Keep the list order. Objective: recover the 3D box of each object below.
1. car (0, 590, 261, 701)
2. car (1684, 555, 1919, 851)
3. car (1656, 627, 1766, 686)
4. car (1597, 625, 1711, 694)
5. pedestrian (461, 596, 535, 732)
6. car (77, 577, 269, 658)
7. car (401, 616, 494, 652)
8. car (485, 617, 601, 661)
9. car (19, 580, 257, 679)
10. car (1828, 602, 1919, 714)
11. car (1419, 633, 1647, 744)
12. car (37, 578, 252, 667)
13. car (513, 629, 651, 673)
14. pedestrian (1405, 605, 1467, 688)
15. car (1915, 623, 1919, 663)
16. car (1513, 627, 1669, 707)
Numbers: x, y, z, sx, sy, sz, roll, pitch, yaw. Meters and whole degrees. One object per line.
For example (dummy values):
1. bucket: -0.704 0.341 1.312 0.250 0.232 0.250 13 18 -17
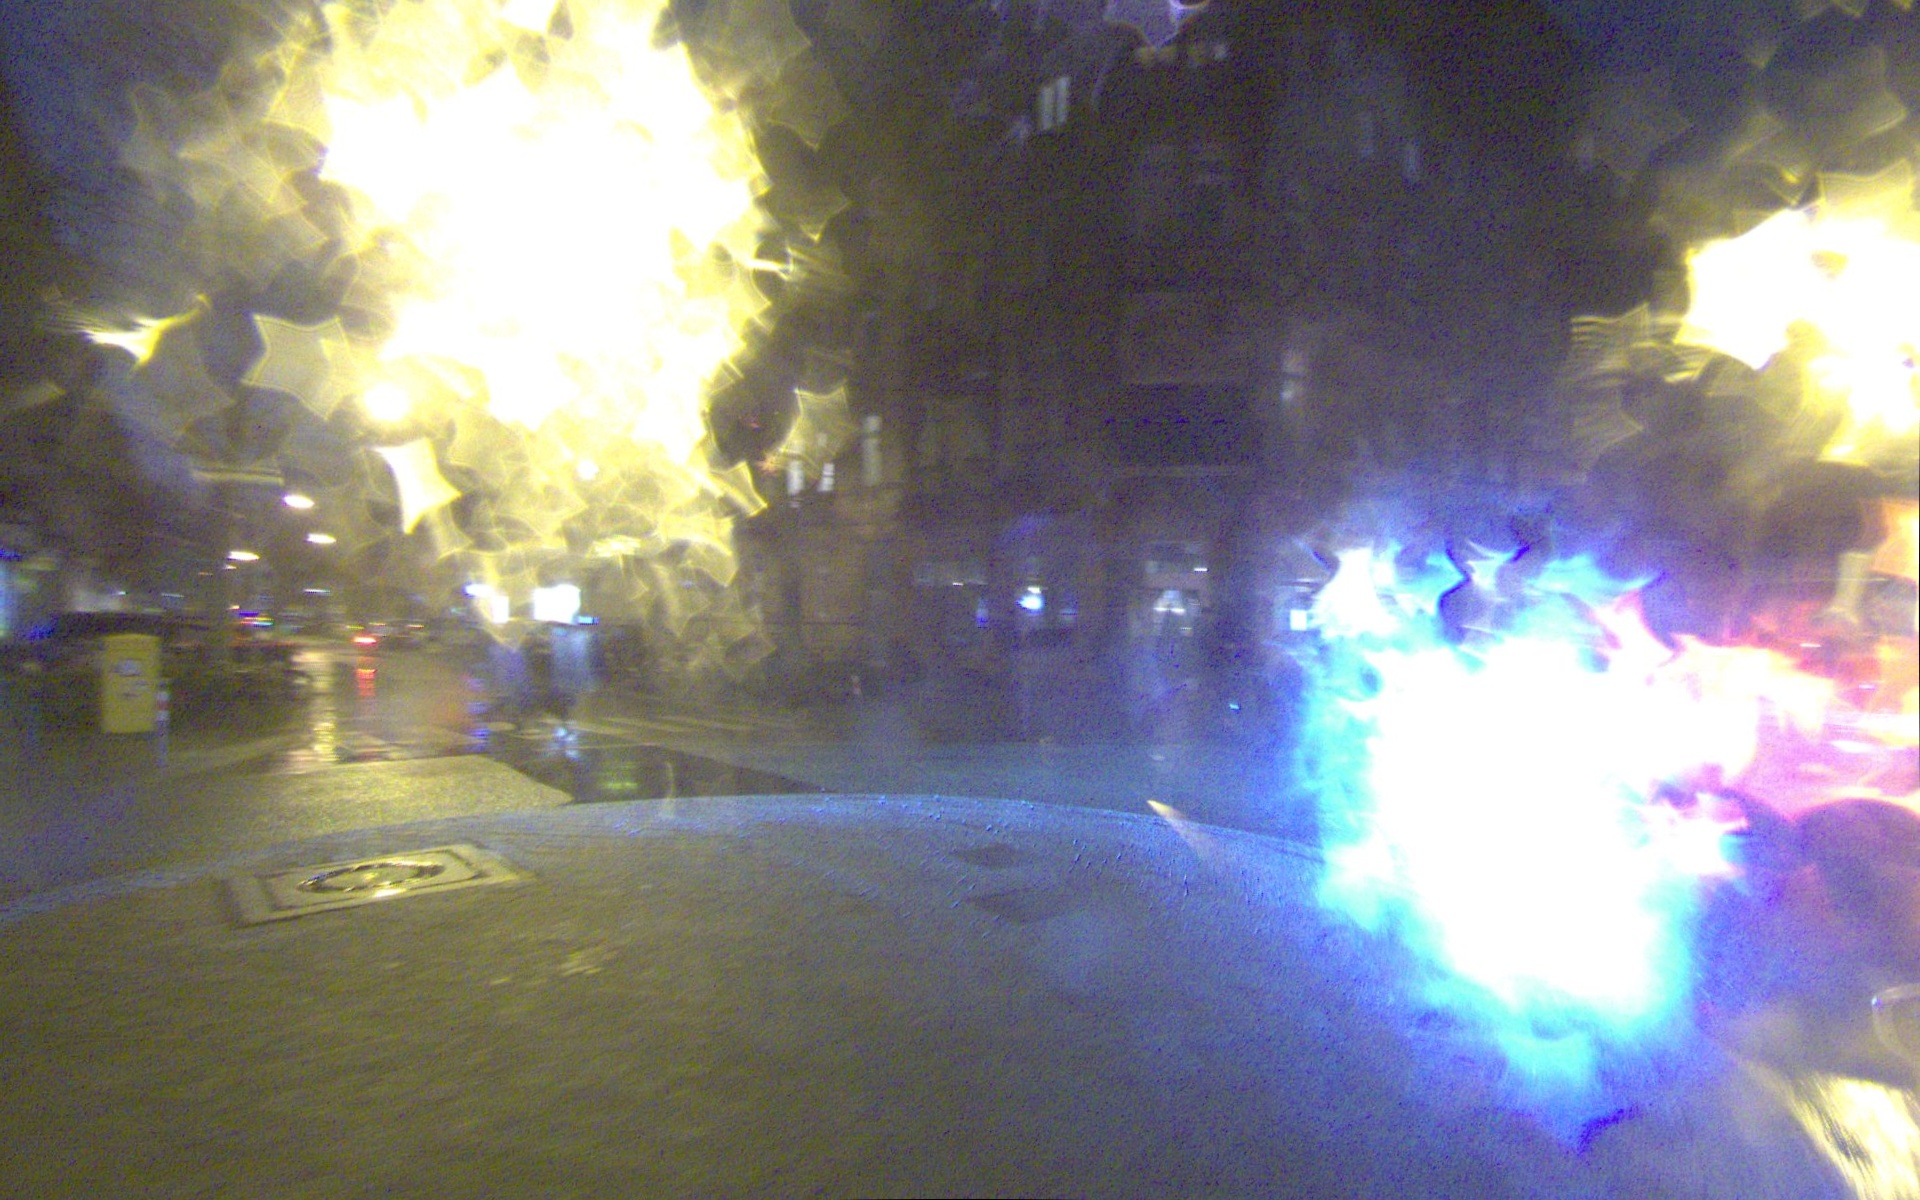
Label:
1. car: -16.906 0.903 20.743 3.960 2.040 1.980 2 0 -35
2. car: 7.802 0.745 8.791 2.097 2.018 4.580 1 -1 39
3. car: 20.590 1.486 27.503 3.472 1.468 1.574 1 0 -38
4. car: 17.046 1.413 24.656 2.763 1.530 1.574 1 0 -38
5. pedestrian: -6.693 0.913 14.564 0.934 1.882 0.794 1 -2 -26
6. car: -21.345 0.489 27.493 3.960 2.040 1.980 2 0 -35
7. car: -23.804 1.570 46.715 3.637 1.649 1.575 1 -2 -37
8. car: -14.364 1.329 34.670 3.429 1.422 1.575 1 -2 -37
9. car: -18.377 0.654 22.745 3.960 2.040 1.980 2 0 -35
10. car: 18.473 1.065 19.323 4.790 1.948 2.103 1 0 -42
11. car: 8.707 1.235 15.135 4.032 1.446 1.551 1 -2 -38
12. car: -20.160 0.570 25.089 3.960 2.040 1.980 2 0 -35
13. car: -11.563 1.530 30.819 3.685 1.292 1.575 1 -2 -37
14. pedestrian: 10.595 1.020 22.359 1.005 1.789 0.799 2 1 -33
15. car: 51.151 2.281 51.975 3.966 2.040 1.977 2 0 -39
16. car: 13.753 1.376 21.808 3.989 1.483 1.574 1 2 -39
